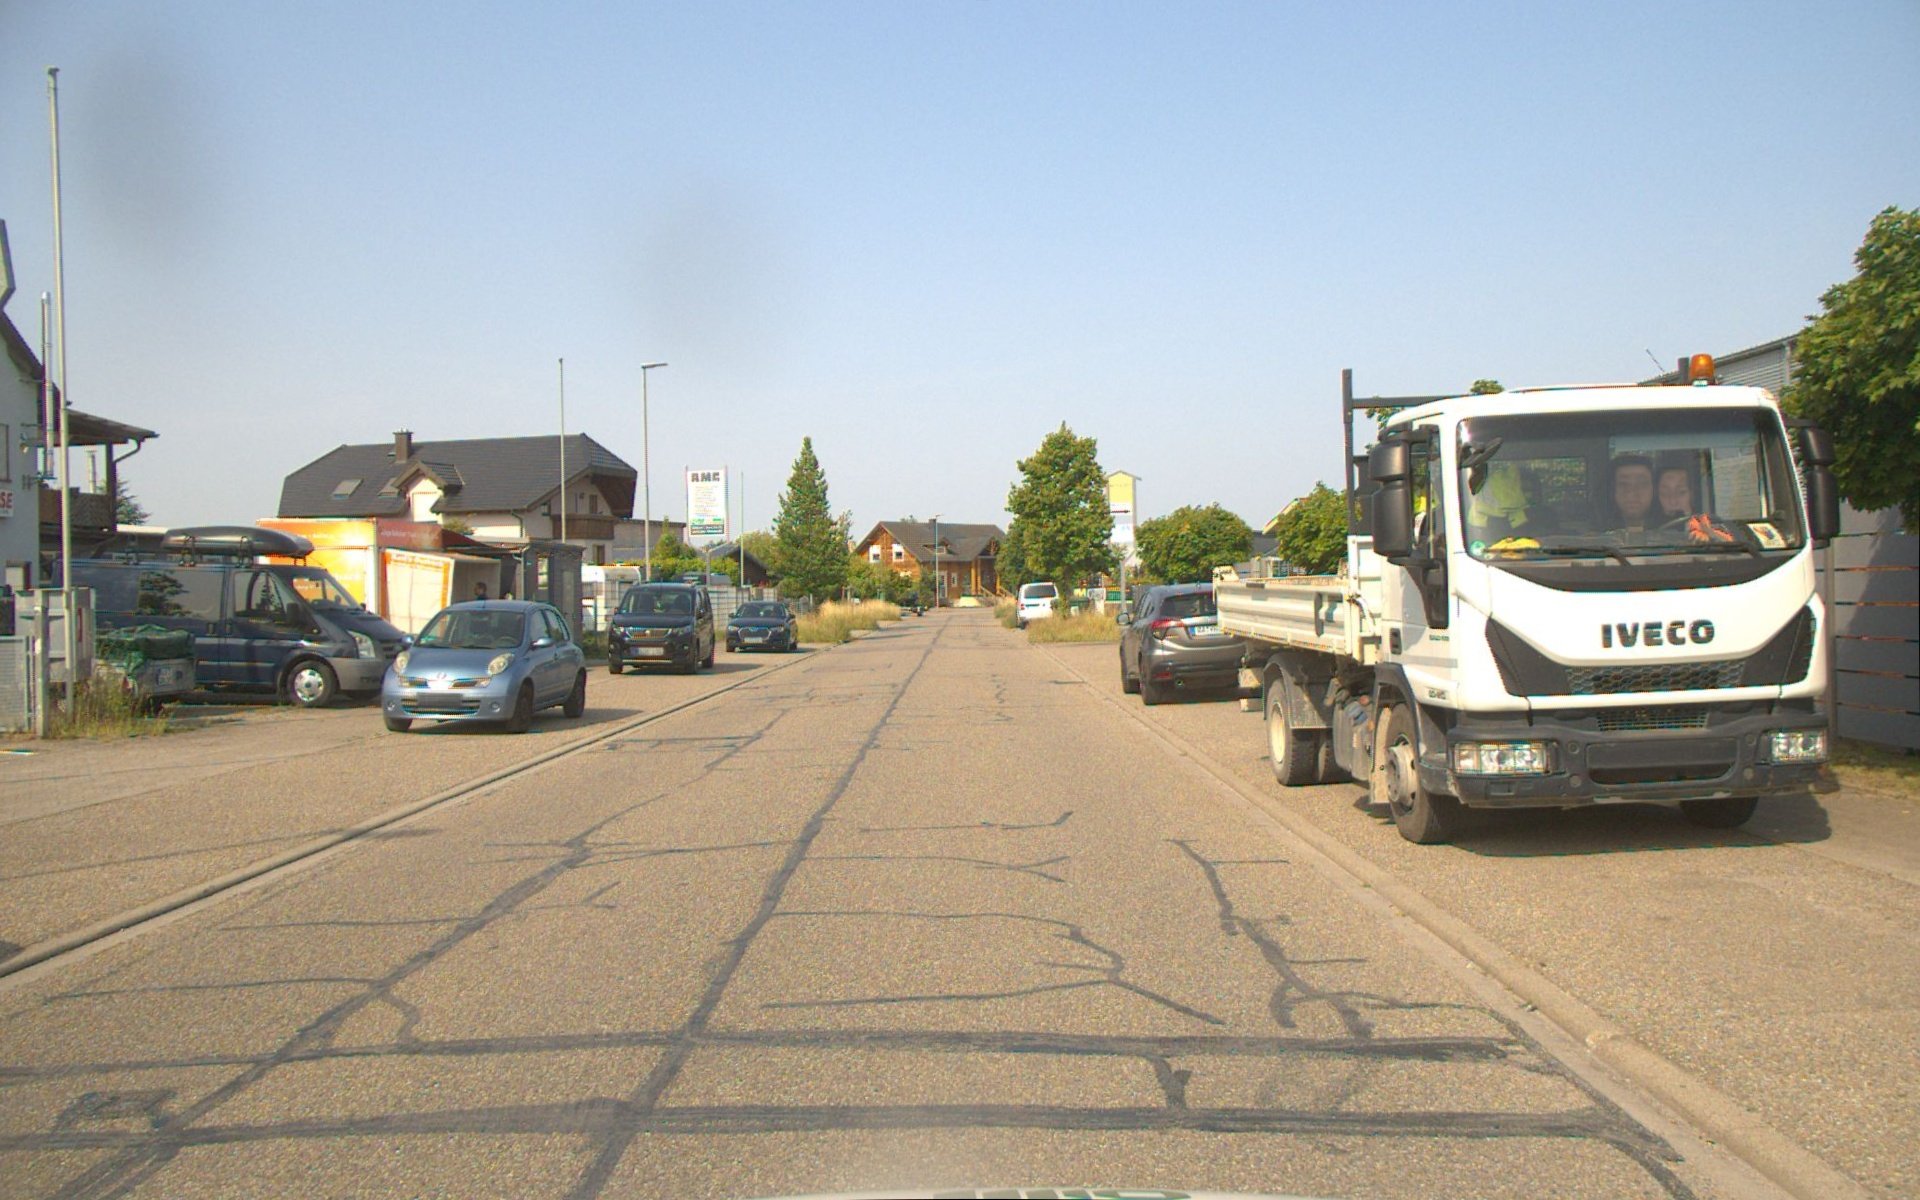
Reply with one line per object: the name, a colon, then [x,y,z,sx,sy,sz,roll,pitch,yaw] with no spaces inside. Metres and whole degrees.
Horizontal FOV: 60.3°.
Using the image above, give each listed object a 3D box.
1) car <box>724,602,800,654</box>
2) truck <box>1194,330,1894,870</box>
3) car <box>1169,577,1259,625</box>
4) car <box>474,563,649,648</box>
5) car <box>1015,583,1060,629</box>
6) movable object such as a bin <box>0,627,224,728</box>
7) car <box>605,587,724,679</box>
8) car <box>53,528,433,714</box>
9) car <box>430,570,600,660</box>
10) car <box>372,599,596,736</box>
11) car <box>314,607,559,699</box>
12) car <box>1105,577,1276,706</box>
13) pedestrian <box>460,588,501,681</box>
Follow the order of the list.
car: [-5.634,0.771,47.328,1.763,1.411,3.637,0,0,-1]
truck: [3.497,-0.024,11.801,2.312,2.728,6.506,-2,0,-3]
car: [9.043,0.035,59.018,3.076,1.607,1.393,-2,0,8]
car: [-13.353,0.174,55.487,5.050,2.631,2.577,-2,0,21]
car: [3.416,0.248,73.605,1.800,1.957,3.756,-2,0,0]
movable object such as a bin: [-11.543,0.965,21.394,3.252,1.167,1.763,0,0,9]
car: [-6.103,0.642,34.596,1.763,1.805,4.202,0,0,-1]
car: [-10.190,0.288,23.735,4.530,2.459,2.001,-1,0,2]
car: [-13.970,0.471,51.938,4.703,2.631,2.146,-2,0,21]
car: [-5.800,0.762,20.572,1.599,1.544,3.606,0,0,3]
car: [-8.565,0.856,27.288,3.516,1.439,1.761,0,0,-4]
car: [3.199,0.551,23.666,1.758,1.588,3.999,-3,0,-1]
pedestrian: [-9.146,0.650,31.540,0.558,1.745,0.527,-2,0,-38]
